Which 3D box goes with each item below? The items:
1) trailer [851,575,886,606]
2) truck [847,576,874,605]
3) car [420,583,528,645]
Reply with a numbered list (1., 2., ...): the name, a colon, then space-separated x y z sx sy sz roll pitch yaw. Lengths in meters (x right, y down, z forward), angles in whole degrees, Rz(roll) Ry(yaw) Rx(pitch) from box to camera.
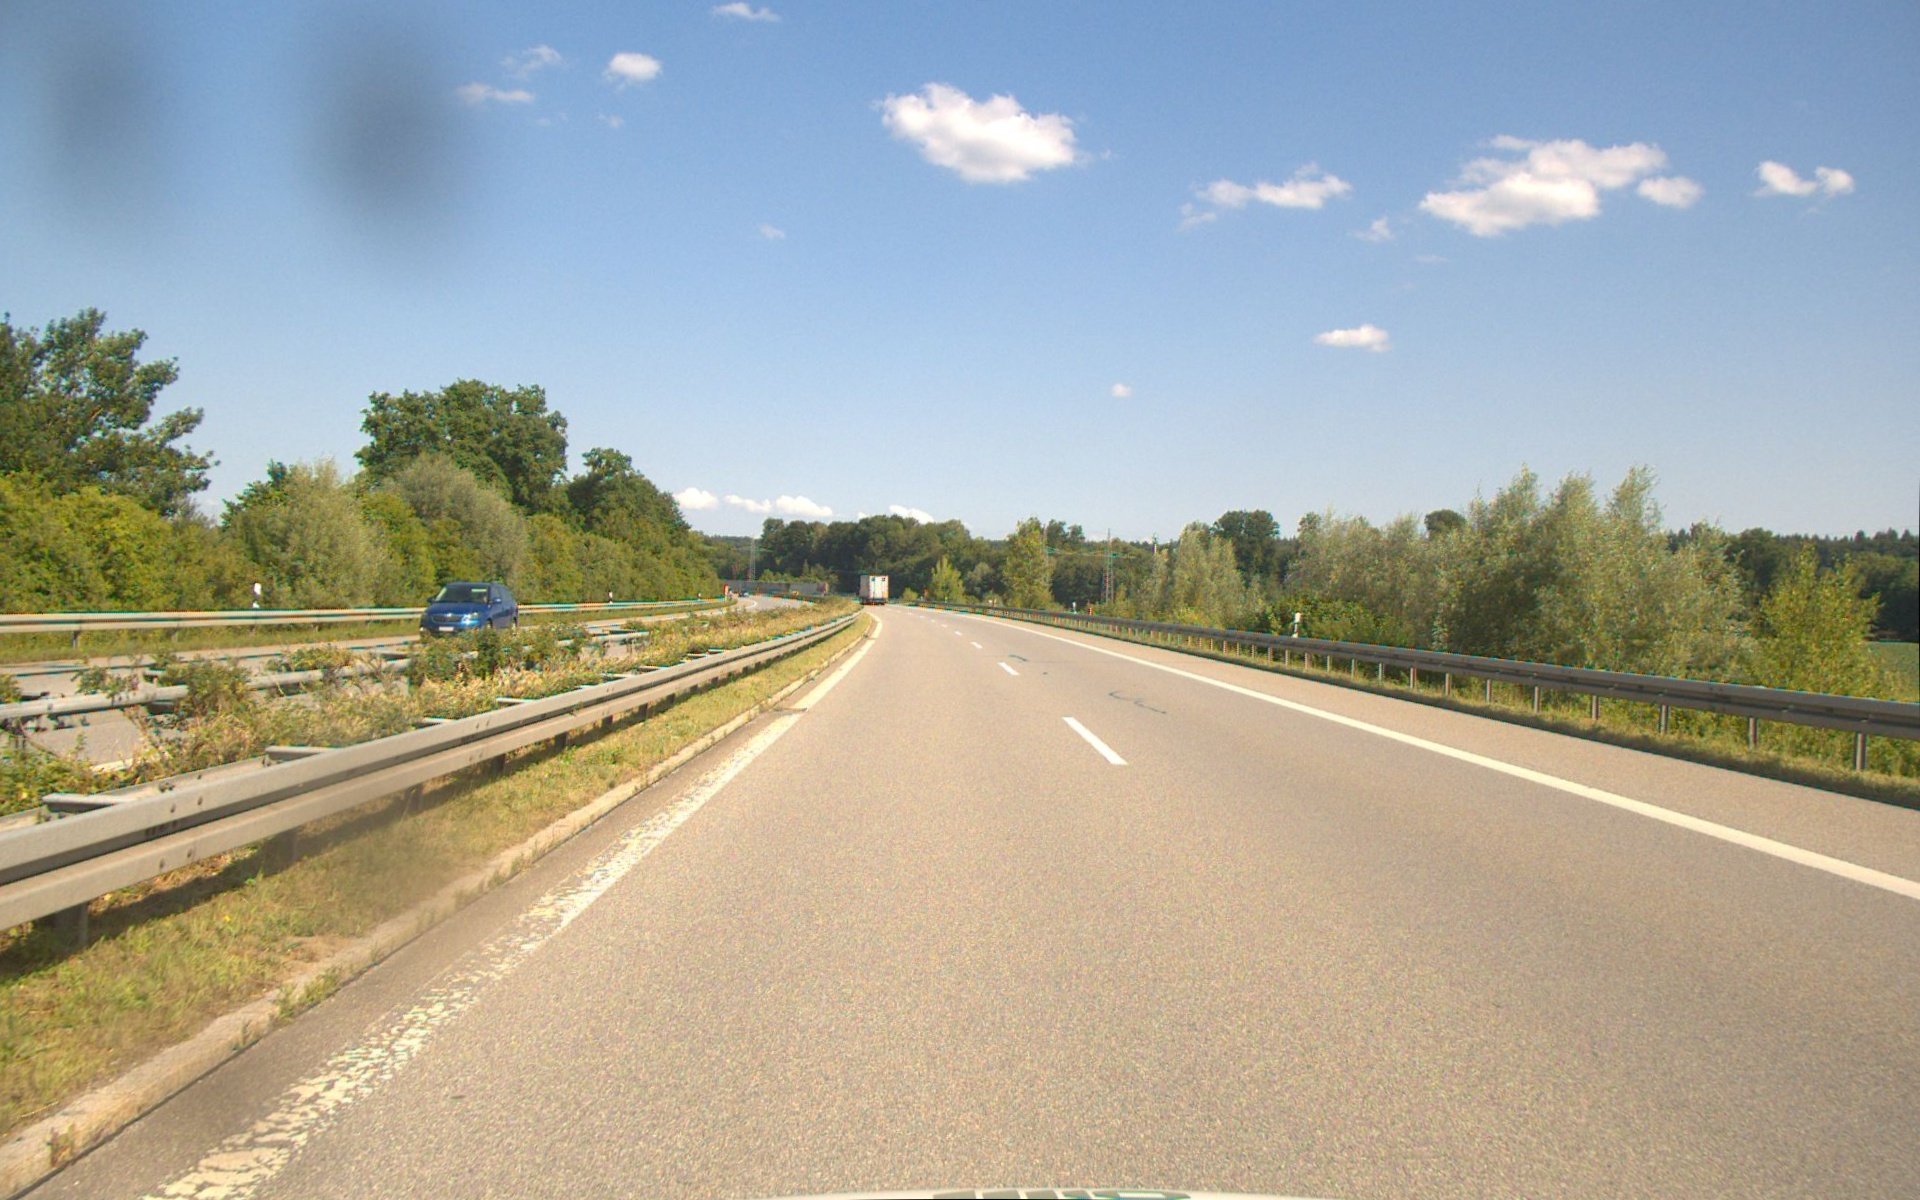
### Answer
1. trailer: -12.725 -1.303 228.666 2.834 4.137 12.380 0 1 -13
2. truck: -14.089 -1.343 234.690 2.781 4.082 6.565 0 1 -13
3. car: -12.081 0.330 41.369 1.642 1.466 3.998 0 0 -2
